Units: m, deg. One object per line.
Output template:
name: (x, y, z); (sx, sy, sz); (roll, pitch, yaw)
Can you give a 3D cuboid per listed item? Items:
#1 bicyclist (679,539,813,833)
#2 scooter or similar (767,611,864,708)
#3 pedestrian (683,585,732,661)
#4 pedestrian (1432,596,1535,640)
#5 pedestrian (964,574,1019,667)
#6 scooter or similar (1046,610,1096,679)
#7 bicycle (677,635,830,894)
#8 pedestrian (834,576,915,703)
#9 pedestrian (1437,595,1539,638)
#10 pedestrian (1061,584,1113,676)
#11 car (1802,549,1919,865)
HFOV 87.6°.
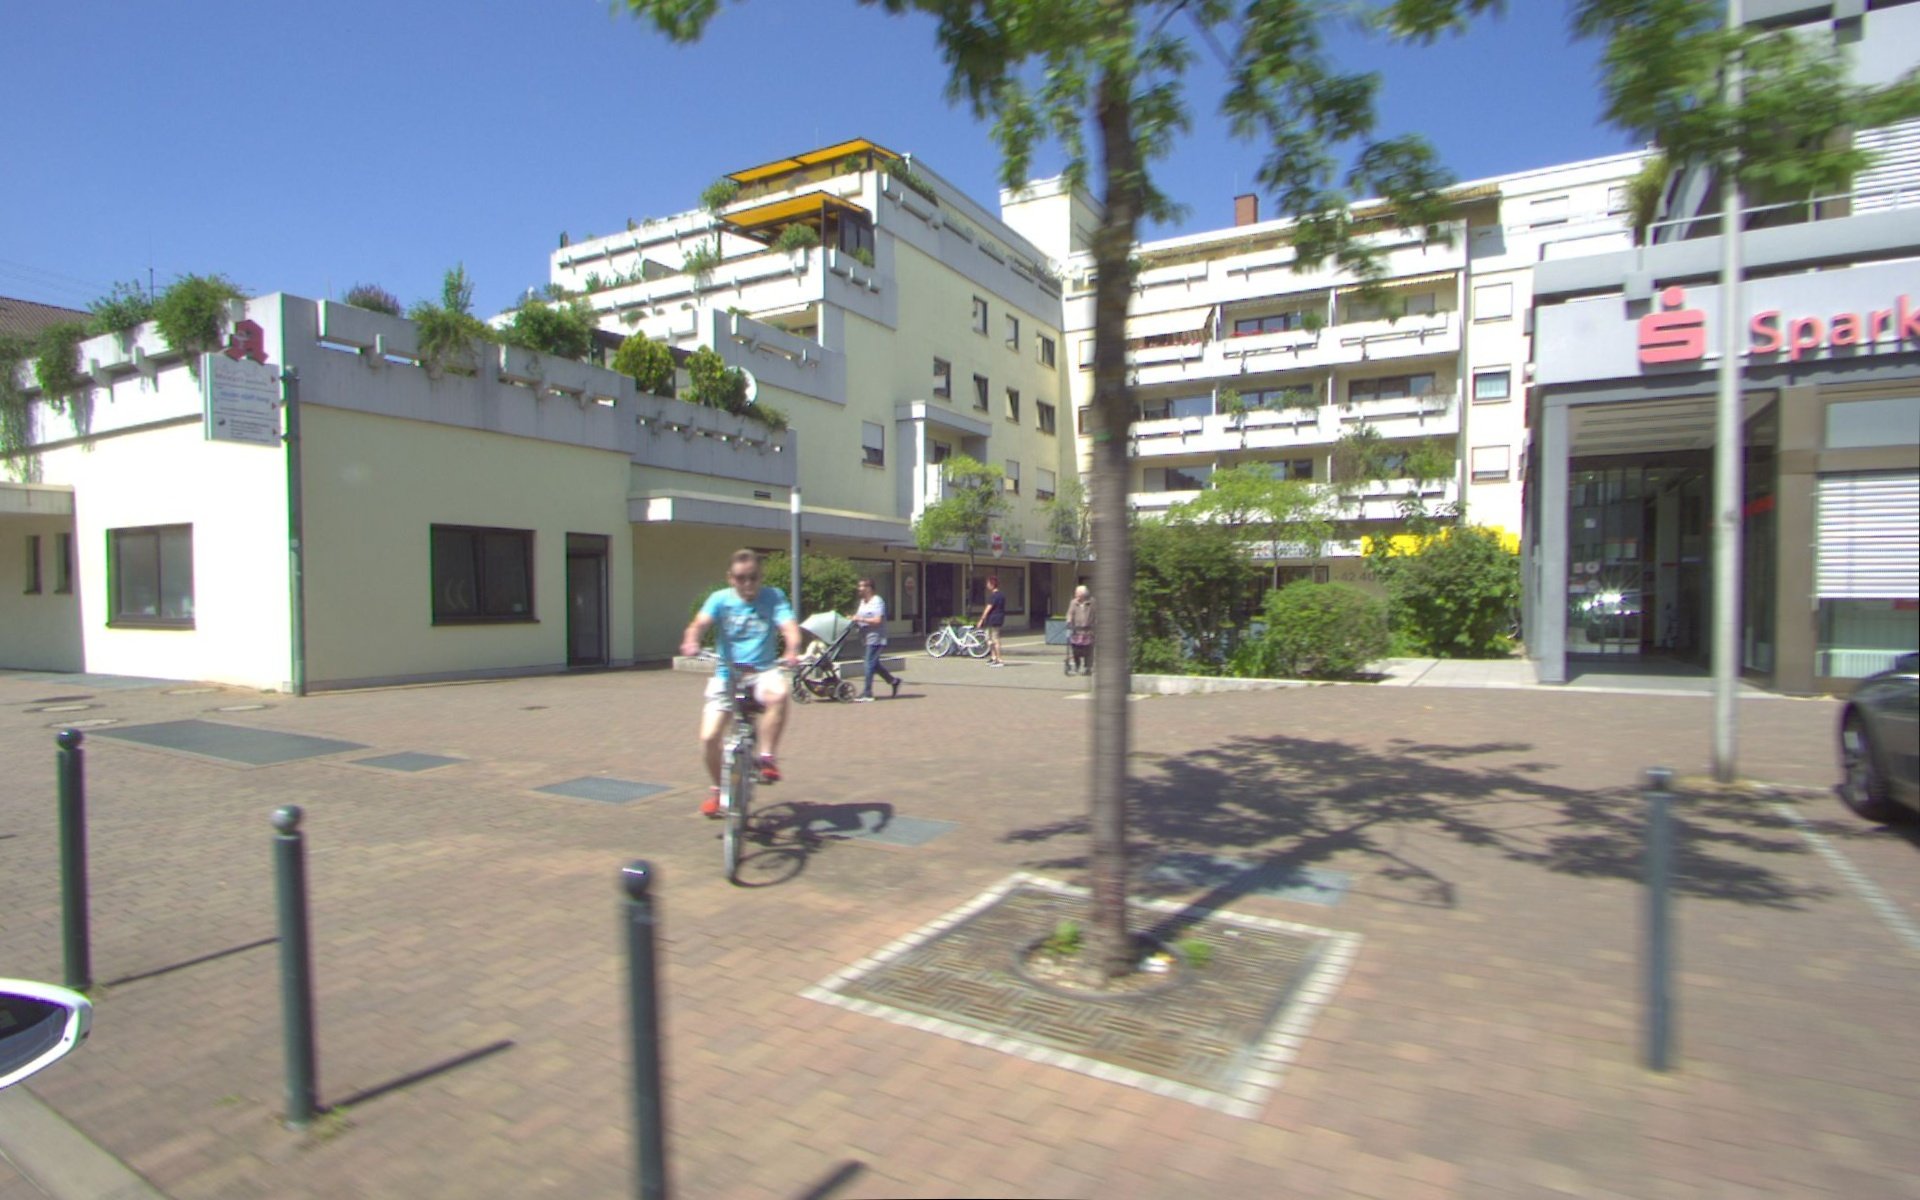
bicyclist: (-1.238, 0.443, 5.712); (0.659, 1.548, 0.760); (-1, 2, -17)
scooter or similar: (-1.772, 0.701, 12.264); (1.028, 1.121, 0.625); (0, 1, -28)
pedestrian: (-5.185, 0.457, 20.555); (0.800, 1.517, 0.615); (-1, 1, -33)
pedestrian: (15.894, 0.533, 30.499); (2.730, 1.291, 0.984); (0, 1, 25)
pedestrian: (0.614, 0.387, 19.465); (0.887, 1.760, 0.702); (0, 1, 23)
scooter or similar: (1.829, 0.716, 16.432); (0.581, 1.089, 0.802); (1, 1, 26)
bicycle: (-1.237, 0.810, 5.718); (0.664, 1.124, 1.892); (-1, 1, -17)
pedestrian: (-1.088, 0.487, 12.674); (0.790, 1.541, 0.702); (0, 1, -30)
pedestrian: (16.384, 0.493, 31.185); (2.730, 1.291, 0.984); (0, 1, 25)
pedestrian: (2.176, 0.500, 17.129); (0.658, 1.517, 0.808); (1, 1, 26)
car: (5.295, 0.529, 4.017); (1.886, 1.533, 4.571); (0, 2, 27)
